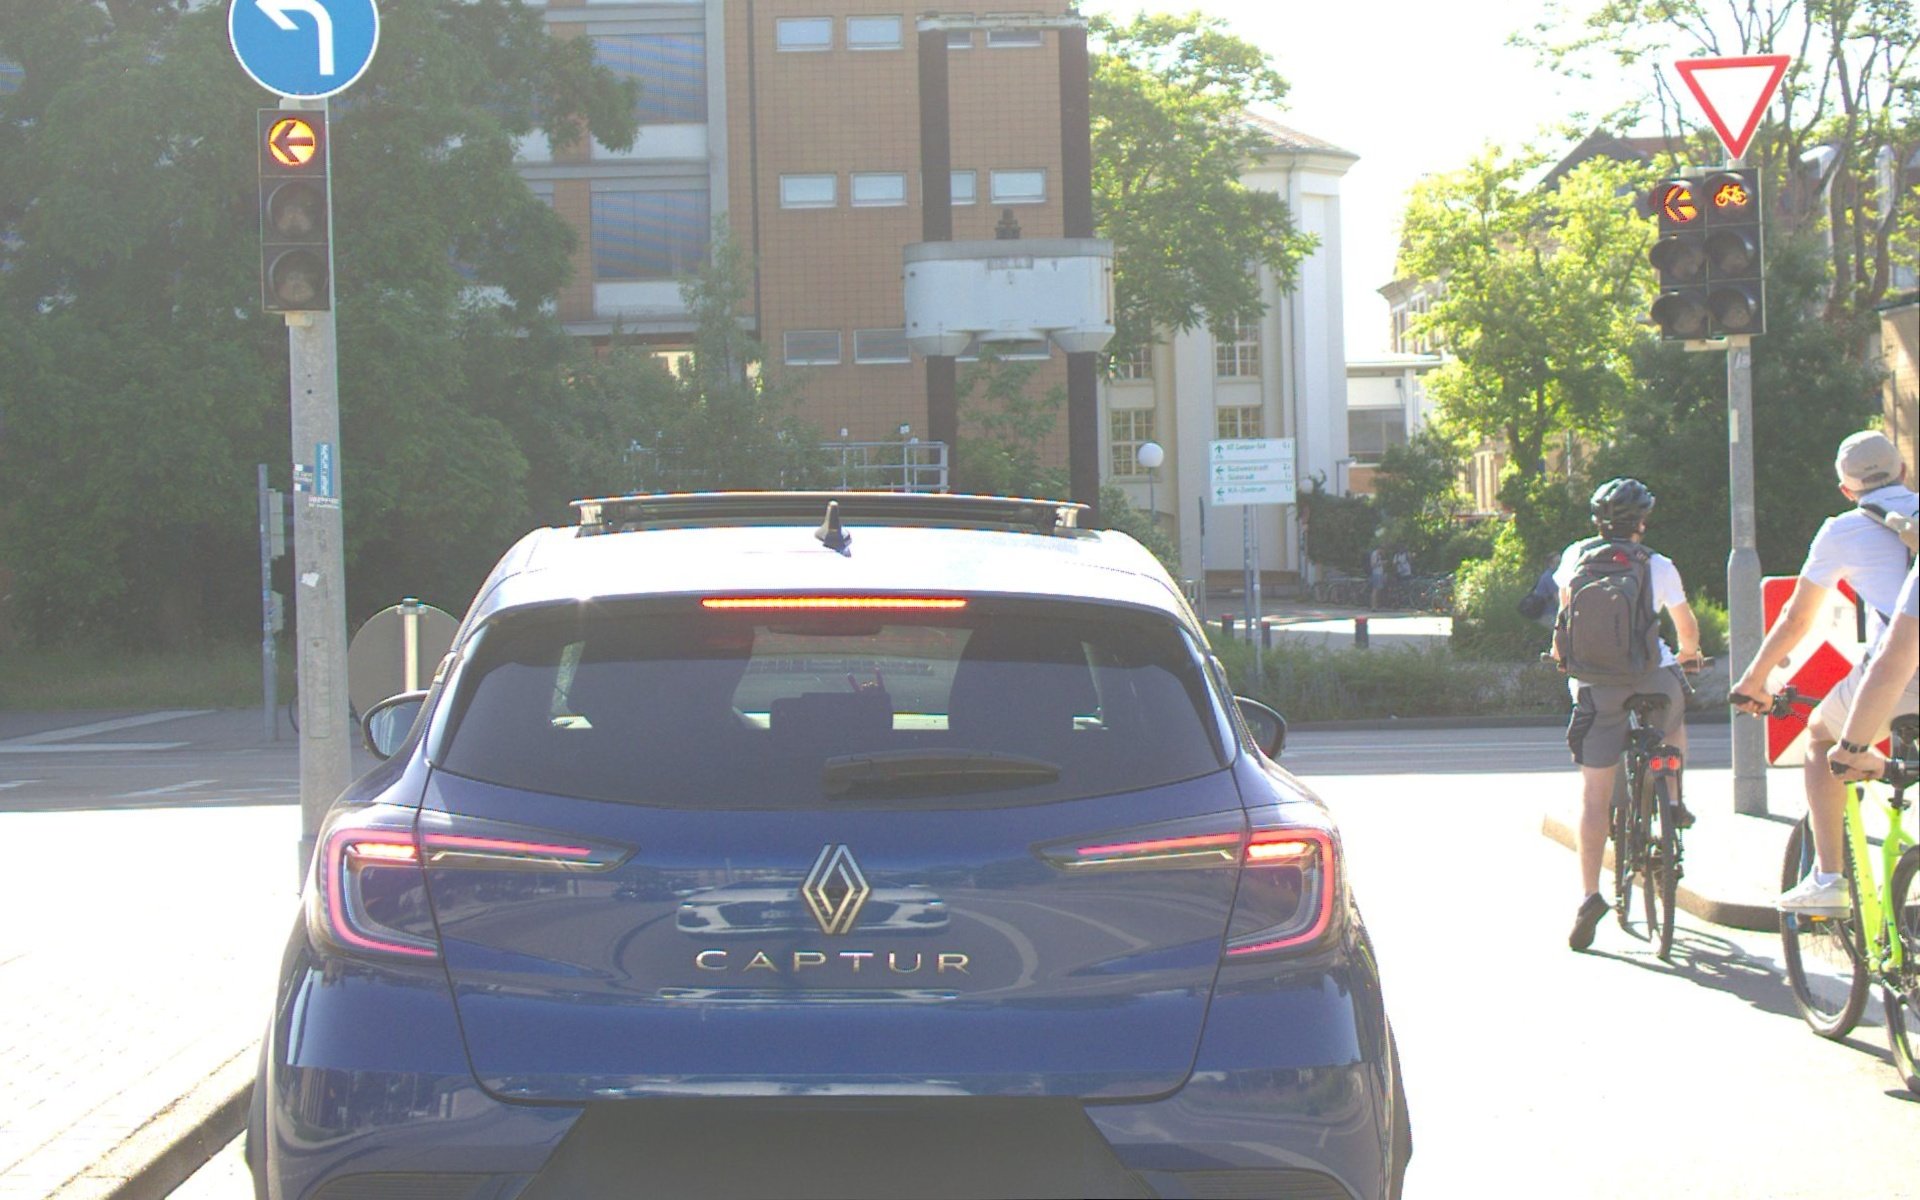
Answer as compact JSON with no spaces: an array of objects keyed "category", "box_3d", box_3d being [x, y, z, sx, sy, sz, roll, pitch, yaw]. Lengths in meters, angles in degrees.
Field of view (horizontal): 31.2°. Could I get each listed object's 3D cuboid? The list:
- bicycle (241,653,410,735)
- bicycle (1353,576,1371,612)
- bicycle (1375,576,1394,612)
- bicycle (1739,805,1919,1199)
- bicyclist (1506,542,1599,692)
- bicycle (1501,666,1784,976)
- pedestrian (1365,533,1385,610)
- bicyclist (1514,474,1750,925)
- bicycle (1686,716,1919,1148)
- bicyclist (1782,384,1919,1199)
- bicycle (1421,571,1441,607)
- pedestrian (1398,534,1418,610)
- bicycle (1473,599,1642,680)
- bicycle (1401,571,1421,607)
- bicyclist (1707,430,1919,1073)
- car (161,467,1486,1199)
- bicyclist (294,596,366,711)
[{"category":"bicycle","box_3d":[-8.075,1.187,43.773,2.005,0.961,0.598,-2,1,-27]},{"category":"bicycle","box_3d":[10.996,-0.180,94.084,0.405,0.969,1.683,1,1,4]},{"category":"bicycle","box_3d":[11.618,-0.171,94.040,0.405,0.969,1.683,1,1,4]},{"category":"bicycle","box_3d":[2.234,0.952,7.260,0.740,0.893,1.978,1,1,1]},{"category":"bicyclist","box_3d":[7.540,0.207,43.739,1.102,1.861,0.652,-2,0,10]},{"category":"bicycle","box_3d":[2.516,0.781,12.905,0.739,0.992,2.173,1,1,3]},{"category":"pedestrian","box_3d":[10.986,-0.754,91.046,0.475,2.007,0.523,-1,1,6]},{"category":"bicyclist","box_3d":[2.514,0.354,12.949,0.726,1.623,0.969,1,0,4]},{"category":"bicycle","box_3d":[2.648,0.868,9.531,0.659,0.999,1.970,1,1,-6]},{"category":"bicyclist","box_3d":[2.238,0.408,7.248,0.751,1.663,1.016,1,0,1]},{"category":"bicycle","box_3d":[12.922,-0.300,94.420,0.405,0.969,1.683,1,1,4]},{"category":"pedestrian","box_3d":[12.043,-0.753,92.398,0.475,2.007,0.468,-1,1,6]},{"category":"bicycle","box_3d":[7.599,0.502,43.794,2.082,0.927,0.696,-2,2,9]},{"category":"bicycle","box_3d":[12.386,-0.308,94.406,0.405,0.969,1.683,1,1,4]},{"category":"bicyclist","box_3d":[2.629,0.406,9.814,0.645,1.733,1.067,1,0,-6]},{"category":"car","box_3d":[-0.262,0.613,6.700,1.803,1.626,4.000,0,1,-2]},{"category":"bicyclist","box_3d":[-8.028,0.674,43.790,0.737,1.436,0.598,-2,1,-27]}]
